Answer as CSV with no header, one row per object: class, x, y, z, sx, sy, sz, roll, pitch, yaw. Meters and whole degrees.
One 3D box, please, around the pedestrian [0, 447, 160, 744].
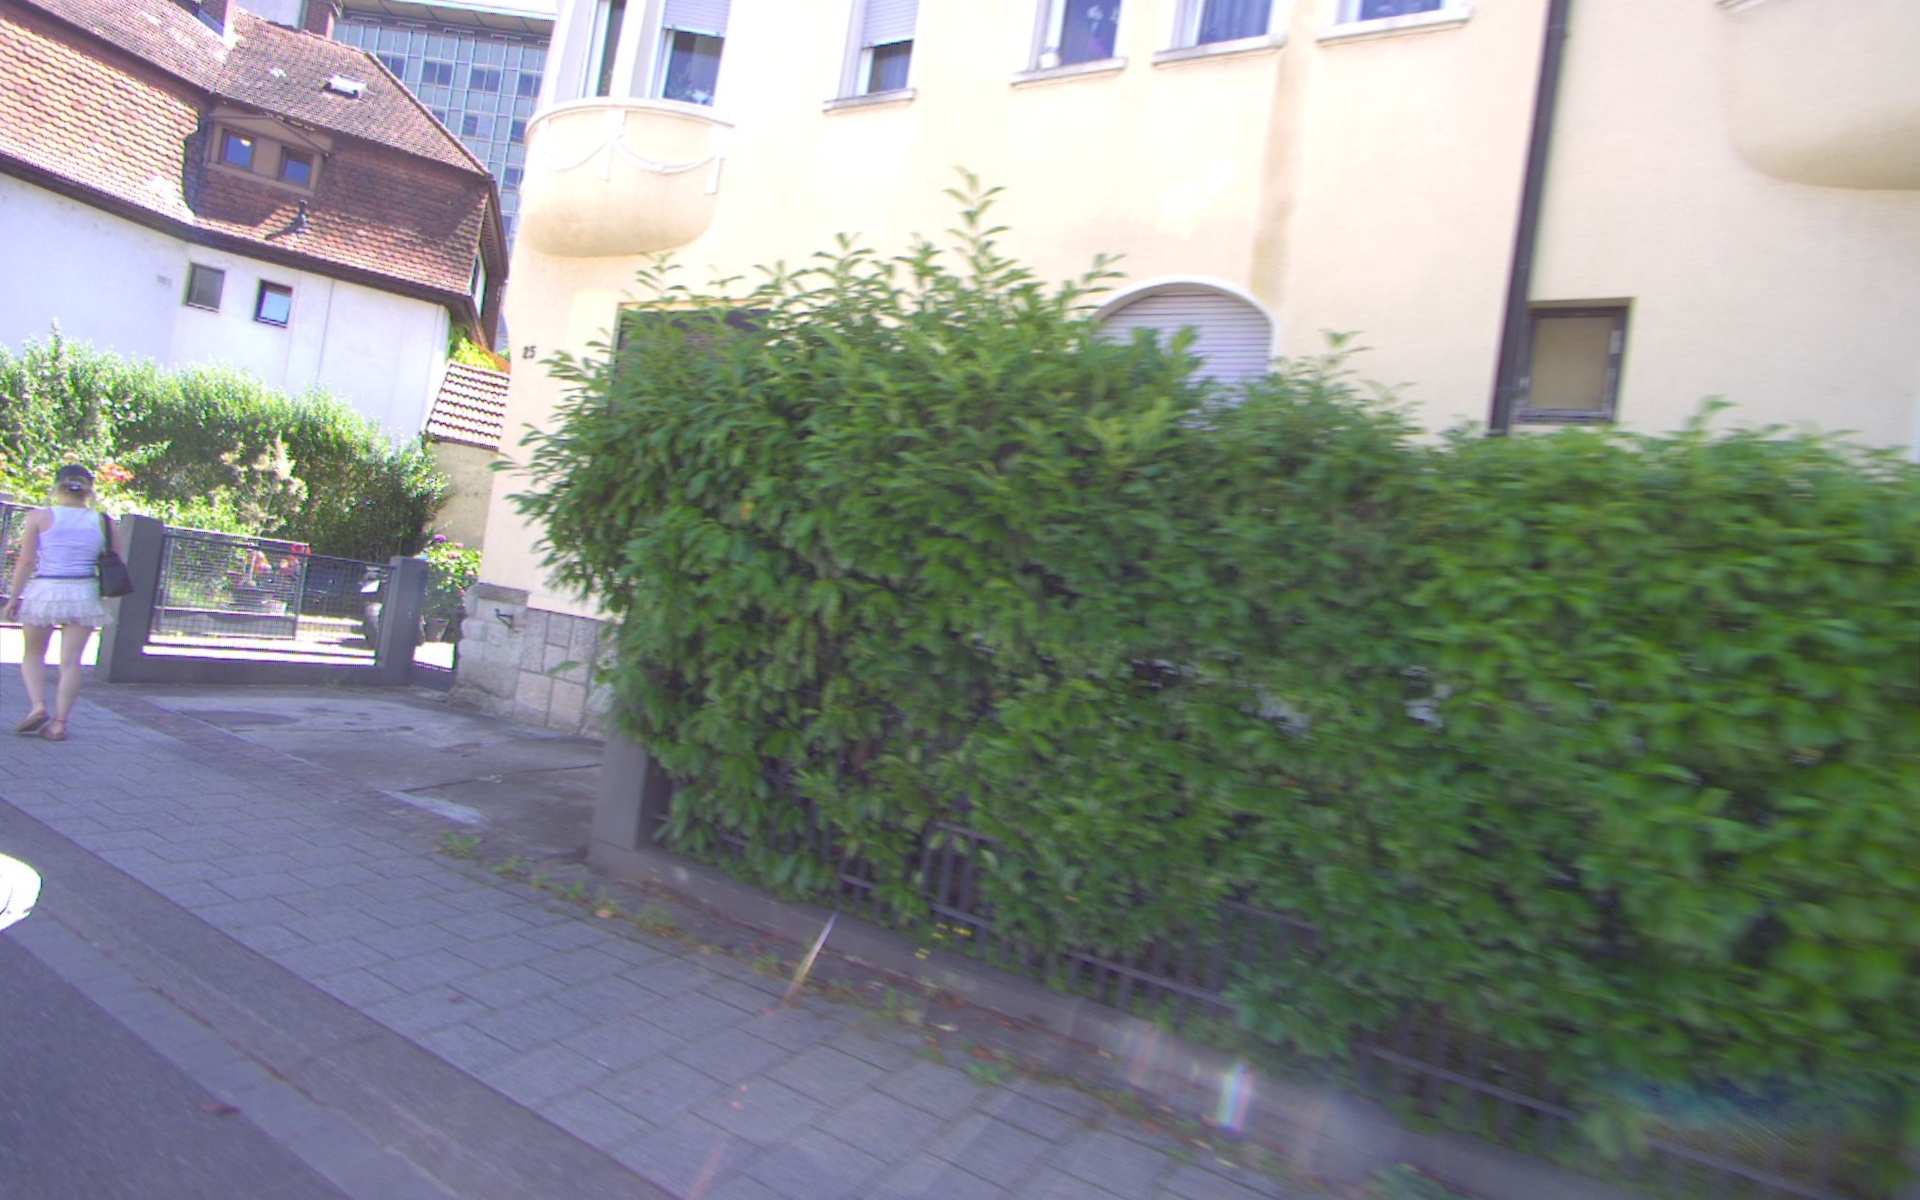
pedestrian,-5.498,-0.034,6.086,0.758,1.663,0.624,8,0,28
